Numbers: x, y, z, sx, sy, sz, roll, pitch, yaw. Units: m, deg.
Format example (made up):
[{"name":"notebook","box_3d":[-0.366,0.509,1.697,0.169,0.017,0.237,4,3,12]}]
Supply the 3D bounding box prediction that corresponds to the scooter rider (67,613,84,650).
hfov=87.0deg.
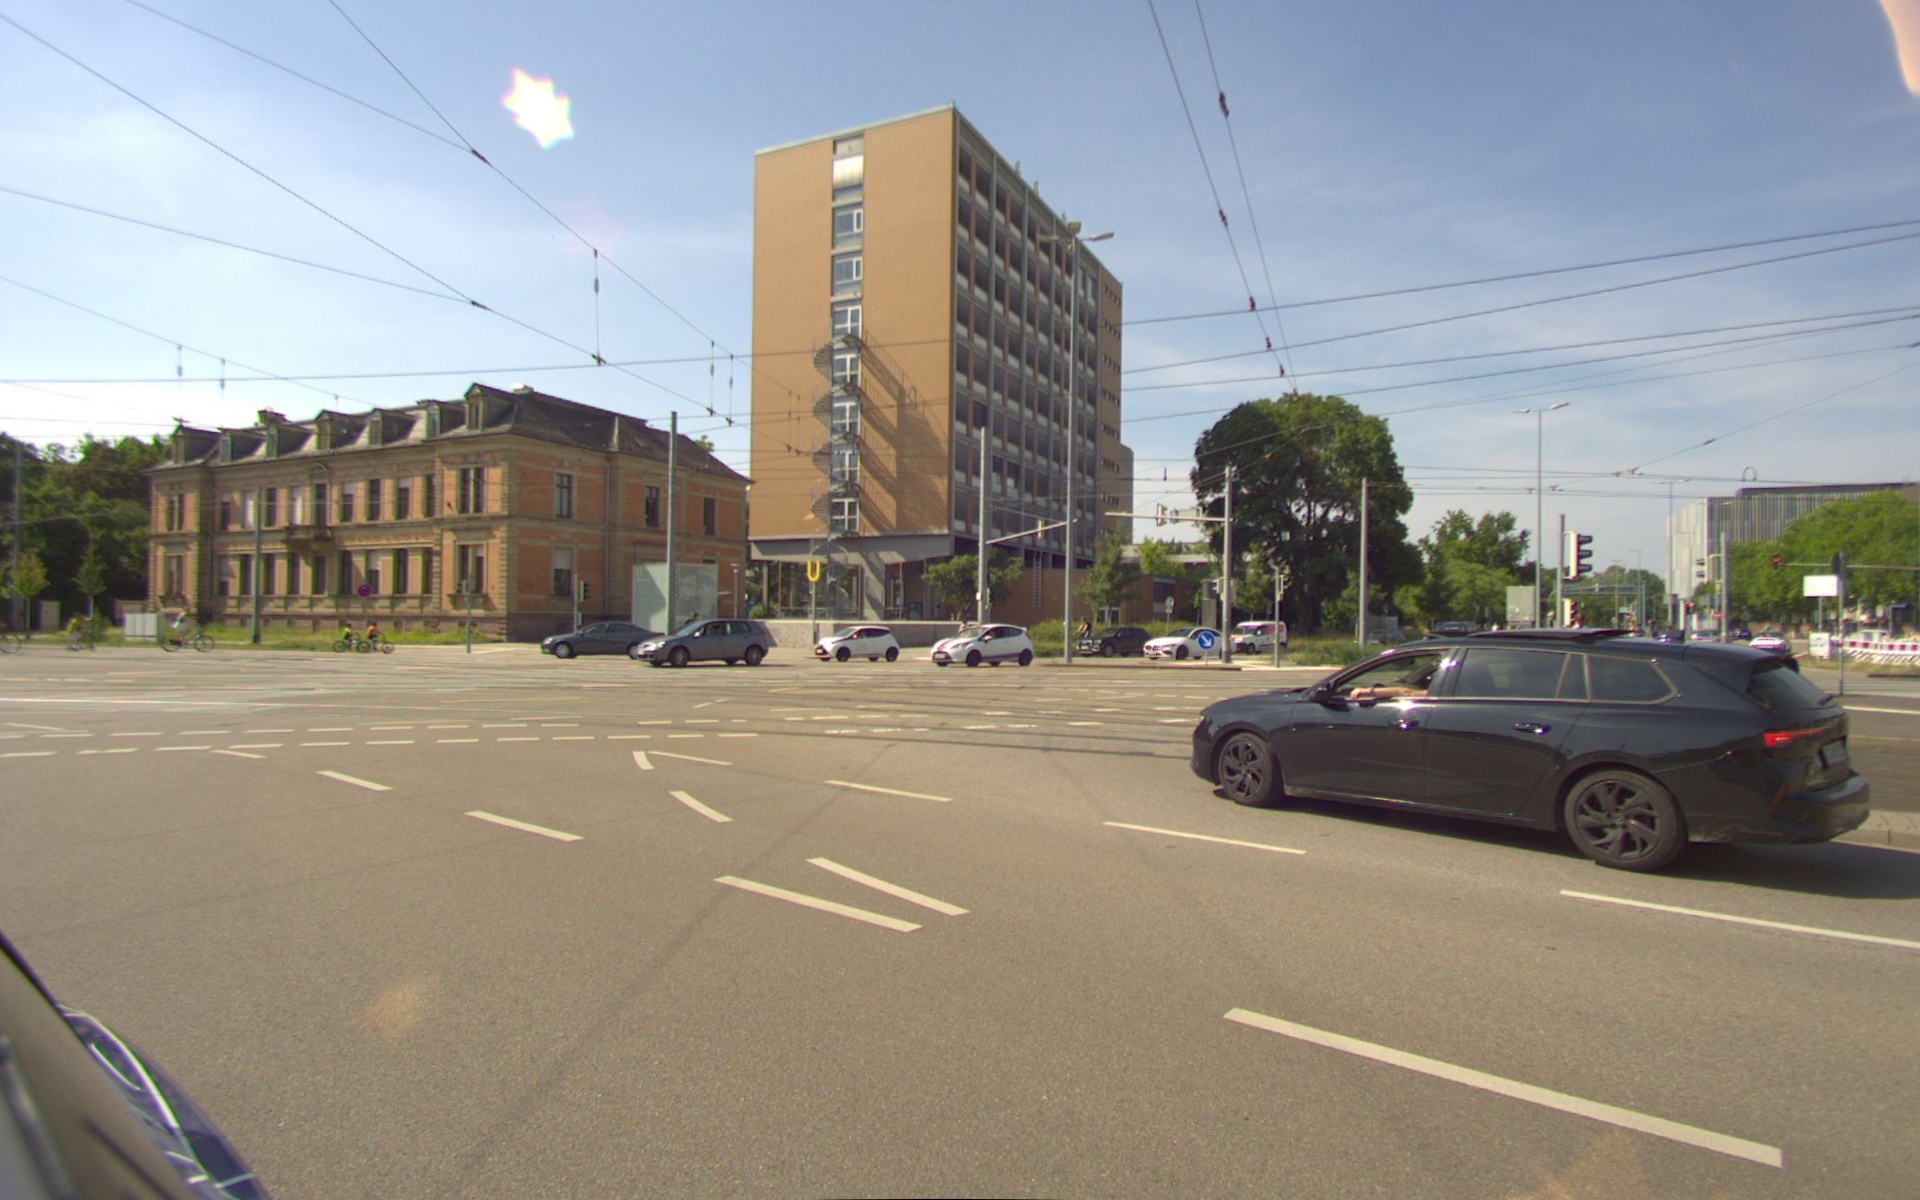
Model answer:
[{"name":"scooter rider","box_3d":[-34.765,1.235,39.766,0.400,1.408,0.590,1,-3,-34]}]

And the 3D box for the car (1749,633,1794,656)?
[{"name":"car","box_3d":[47.429,2.578,59.116,1.600,1.296,3.941,-4,-4,45]}]

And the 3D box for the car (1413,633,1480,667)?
[{"name":"car","box_3d":[26.976,2.749,56.097,3.938,1.807,1.967,2,-2,-42]}]

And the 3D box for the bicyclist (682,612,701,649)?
[{"name":"bicyclist","box_3d":[-12.098,1.372,45.585,0.770,1.636,0.670,1,-1,-10]}]

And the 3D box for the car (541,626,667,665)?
[{"name":"car","box_3d":[-13.784,1.765,39.421,4.454,1.446,1.640,1,-1,-12]}]

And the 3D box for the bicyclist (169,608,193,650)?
[{"name":"bicyclist","box_3d":[-31.173,1.169,40.516,0.638,1.633,0.503,1,-4,-29]}]

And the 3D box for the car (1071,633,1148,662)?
[{"name":"car","box_3d":[7.230,2.277,48.864,3.519,1.305,1.414,1,-2,-29]}]

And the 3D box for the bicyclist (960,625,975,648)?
[{"name":"bicyclist","box_3d":[0.351,1.746,48.245,0.706,1.036,0.916,1,1,0]}]

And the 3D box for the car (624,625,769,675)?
[{"name":"car","box_3d":[-8.181,1.522,31.578,4.052,1.435,1.655,1,-2,-37]}]

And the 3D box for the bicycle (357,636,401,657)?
[{"name":"bicycle","box_3d":[-24.764,1.988,43.176,1.550,0.893,0.521,3,-2,-37]}]

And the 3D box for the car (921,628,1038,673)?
[{"name":"car","box_3d":[0.687,1.653,33.834,3.804,1.425,1.658,2,-2,-42]}]

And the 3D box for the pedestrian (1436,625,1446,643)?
[{"name":"pedestrian","box_3d":[40.406,2.868,85.023,0.642,1.457,0.562,1,0,35]}]

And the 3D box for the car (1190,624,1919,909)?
[{"name":"car","box_3d":[4.043,0.931,7.505,1.732,1.467,4.431,3,-3,-39]}]

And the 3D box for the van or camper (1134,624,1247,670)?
[{"name":"van or camper","box_3d":[9.990,2.016,43.793,4.839,1.902,1.926,1,-2,-32]}]

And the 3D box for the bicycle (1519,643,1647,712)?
[{"name":"bicycle","box_3d":[11.348,1.389,18.471,0.740,1.092,1.850,1,0,-44]}]

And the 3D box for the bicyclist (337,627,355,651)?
[{"name":"bicyclist","box_3d":[-26.221,1.669,43.204,0.595,1.037,0.503,2,-4,-36]}]

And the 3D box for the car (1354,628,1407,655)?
[{"name":"car","box_3d":[26.103,2.544,62.745,1.910,1.630,3.945,-1,-2,41]}]

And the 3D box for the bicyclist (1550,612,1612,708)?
[{"name":"bicyclist","box_3d":[11.348,1.076,18.494,0.740,1.697,0.777,2,0,-44]}]

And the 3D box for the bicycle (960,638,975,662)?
[{"name":"bicycle","box_3d":[0.347,2.379,48.181,0.706,1.023,1.919,1,1,0]}]

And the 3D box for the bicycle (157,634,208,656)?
[{"name":"bicycle","box_3d":[-31.108,1.811,40.514,1.560,0.872,0.503,1,-4,-29]}]

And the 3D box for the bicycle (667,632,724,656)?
[{"name":"bicycle","box_3d":[-11.928,1.991,45.682,2.423,1.077,0.670,1,-2,-10]}]

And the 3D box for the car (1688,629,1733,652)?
[{"name":"car","box_3d":[45.956,2.477,61.929,1.600,1.296,3.941,-4,-4,45]}]

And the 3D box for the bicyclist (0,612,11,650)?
[{"name":"bicyclist","box_3d":[-36.405,1.169,38.046,0.894,1.431,0.687,0,-3,-28]}]

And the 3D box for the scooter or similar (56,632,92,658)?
[{"name":"scooter or similar","box_3d":[-34.773,1.771,39.725,0.975,0.983,0.590,1,-3,-34]}]

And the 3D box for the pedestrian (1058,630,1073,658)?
[{"name":"pedestrian","box_3d":[6.461,2.711,62.097,0.719,1.676,0.595,1,0,-34]}]

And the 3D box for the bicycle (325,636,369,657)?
[{"name":"bicycle","box_3d":[-26.169,1.990,43.220,1.561,0.872,0.503,2,-4,-36]}]

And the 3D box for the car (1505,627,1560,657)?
[{"name":"car","box_3d":[37.608,2.740,66.400,4.364,1.896,2.001,2,-2,-44]}]

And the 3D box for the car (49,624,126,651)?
[{"name":"car","box_3d":[-45.113,1.943,52.341,3.430,1.323,1.659,0,-2,23]}]

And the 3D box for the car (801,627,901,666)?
[{"name":"car","box_3d":[-4.444,1.879,41.356,3.697,1.486,1.687,1,-2,-35]}]

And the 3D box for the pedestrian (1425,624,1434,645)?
[{"name":"pedestrian","box_3d":[39.687,2.895,85.510,0.642,1.777,0.469,1,0,35]}]

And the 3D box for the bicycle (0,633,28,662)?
[{"name":"bicycle","box_3d":[-36.431,1.797,37.992,1.991,1.077,0.687,0,-3,-27]}]

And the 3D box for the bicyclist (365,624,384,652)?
[{"name":"bicyclist","box_3d":[-24.891,1.614,43.037,0.594,1.206,0.521,3,-3,-37]}]

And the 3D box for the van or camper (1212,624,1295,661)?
[{"name":"van or camper","box_3d":[16.015,2.304,55.158,4.841,1.902,1.734,1,-2,-36]}]
